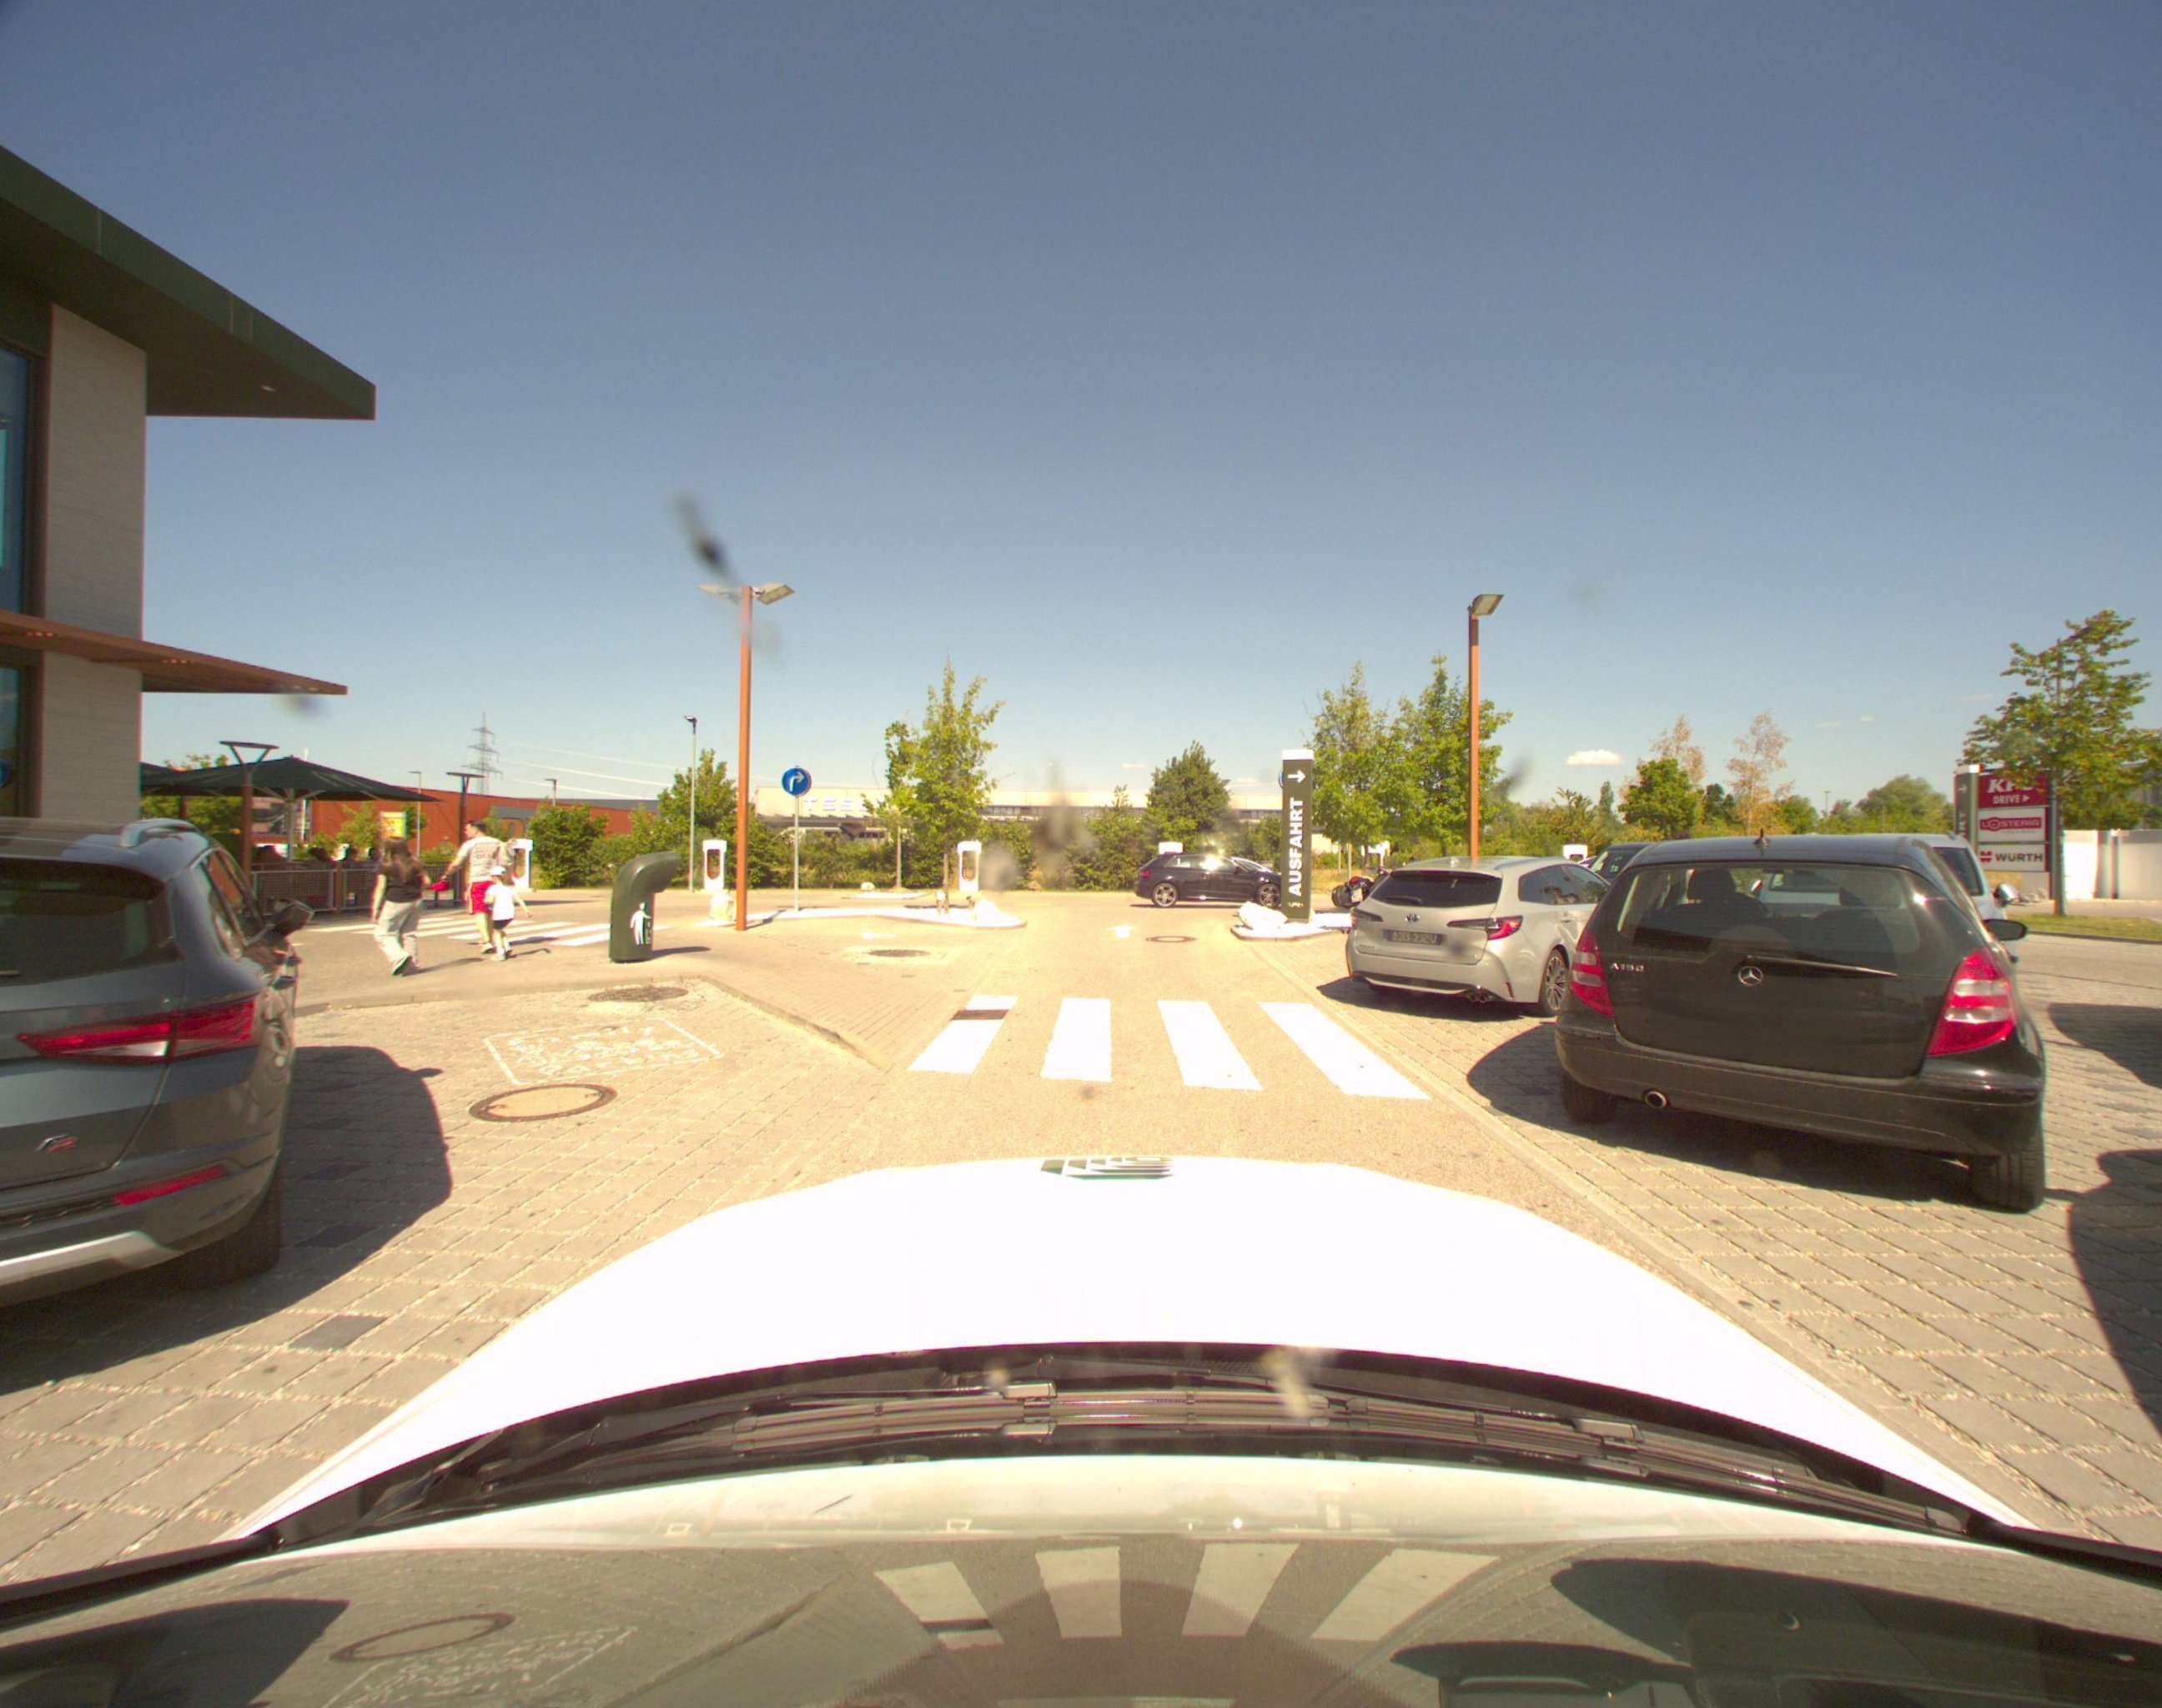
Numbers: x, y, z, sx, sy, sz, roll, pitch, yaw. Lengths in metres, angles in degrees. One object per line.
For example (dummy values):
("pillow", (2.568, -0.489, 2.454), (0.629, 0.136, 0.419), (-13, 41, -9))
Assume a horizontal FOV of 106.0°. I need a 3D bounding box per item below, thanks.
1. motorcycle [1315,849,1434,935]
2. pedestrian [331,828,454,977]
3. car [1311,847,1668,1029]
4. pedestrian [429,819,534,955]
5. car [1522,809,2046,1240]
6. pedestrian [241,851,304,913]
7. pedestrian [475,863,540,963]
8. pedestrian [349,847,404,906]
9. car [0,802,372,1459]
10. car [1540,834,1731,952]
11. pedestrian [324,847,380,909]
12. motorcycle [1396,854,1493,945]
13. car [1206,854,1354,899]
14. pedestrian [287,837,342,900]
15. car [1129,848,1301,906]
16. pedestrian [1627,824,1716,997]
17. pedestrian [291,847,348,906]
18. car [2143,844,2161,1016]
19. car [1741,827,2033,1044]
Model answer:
("motorcycle", (4.971, 0.578, 13.709), (1.058, 1.250, 2.266), (2, 3, 43))
("pedestrian", (-7.644, 0.511, 9.067), (0.722, 1.583, 0.744), (0, 0, 11))
("car", (4.632, 0.673, 8.877), (4.687, 1.447, 1.814), (-1, 1, -41))
("pedestrian", (-8.159, 0.426, 11.126), (0.800, 1.768, 0.895), (0, 0, -7))
("car", (4.403, 0.631, 5.055), (4.023, 1.593, 1.790), (0, 0, -44))
("pedestrian", (-14.900, 0.503, 15.024), (0.521, 1.124, 0.634), (0, 0, -2))
("pedestrian", (-7.041, 0.712, 10.005), (0.489, 1.186, 0.448), (0, 0, -5))
("pedestrian", (-15.444, 0.479, 17.872), (0.570, 1.258, 0.729), (0, 0, -3))
("car", (-4.288, 0.604, 3.294), (1.801, 1.603, 4.176), (3, 0, -45))
("car", (8.814, 0.485, 12.782), (1.872, 1.537, 4.216), (0, 1, 43))
("pedestrian", (-15.005, 0.485, 16.776), (0.521, 1.258, 0.715), (0, 0, -2))
("motorcycle", (5.622, 0.638, 12.528), (0.810, 1.231, 2.155), (1, 1, 39))
("car", (6.289, 0.701, 26.166), (4.414, 1.377, 1.825), (0, 0, 4))
("pedestrian", (-15.630, 0.281, 16.624), (0.521, 1.258, 0.634), (0, 0, -2))
("car", (3.364, 0.590, 21.036), (4.186, 1.441, 1.698), (0, -2, 0))
("pedestrian", (6.141, 0.561, 8.476), (0.566, 1.713, 0.604), (0, 0, -36))
("pedestrian", (-16.680, 0.483, 17.849), (0.570, 1.258, 0.729), (0, 0, -3))
("car", (8.606, 0.640, 5.205), (4.105, 1.408, 1.772), (-1, 1, -44))
("car", (8.067, 0.600, 8.224), (4.091, 1.640, 1.726), (-1, 0, -44))
